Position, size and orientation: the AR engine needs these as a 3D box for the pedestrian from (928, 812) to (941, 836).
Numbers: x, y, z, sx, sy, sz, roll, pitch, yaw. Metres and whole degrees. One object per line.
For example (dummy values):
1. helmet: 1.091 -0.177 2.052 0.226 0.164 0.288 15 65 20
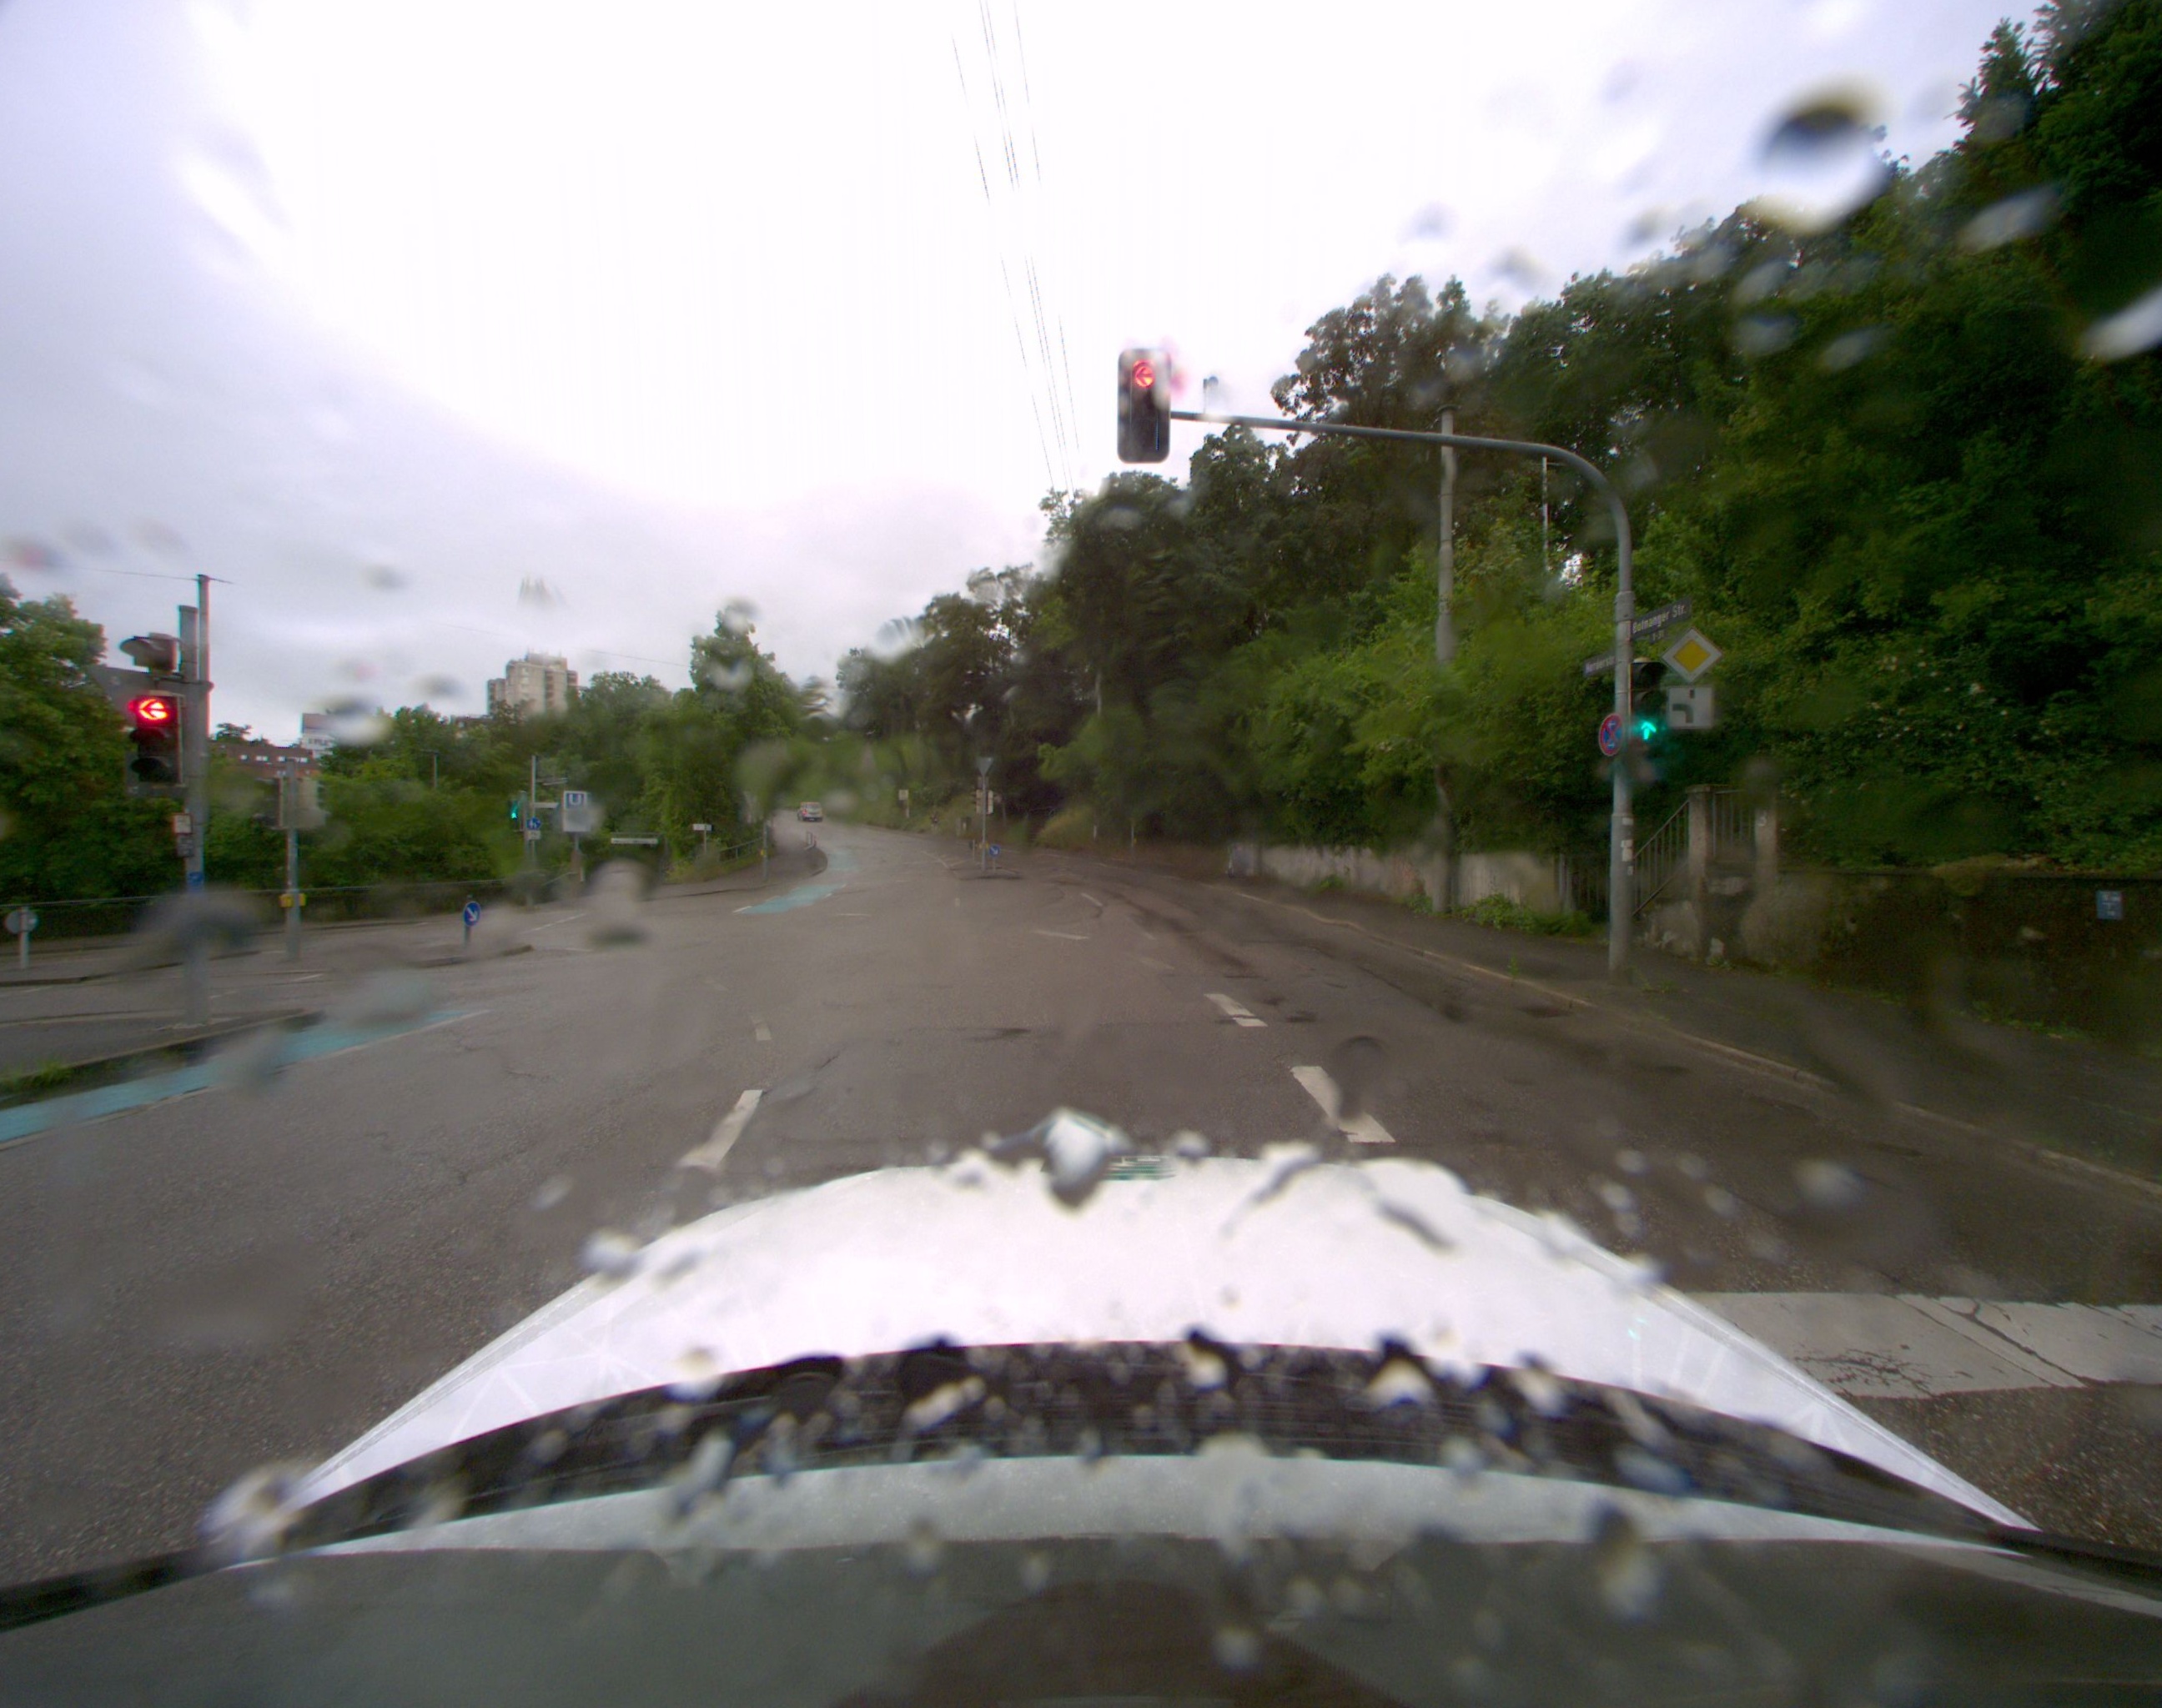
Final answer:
1. pedestrian: -10.839 -2.195 60.226 0.882 1.736 0.861 0 -1 -15

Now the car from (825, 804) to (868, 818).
1. car: -27.119 -4.987 94.166 4.357 1.511 1.971 1 3 15

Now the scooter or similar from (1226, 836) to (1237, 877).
1. scooter or similar: 4.897 0.069 26.522 0.320 1.279 0.754 -1 2 10

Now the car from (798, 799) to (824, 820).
1. car: -28.690 -4.660 86.437 2.076 2.006 4.775 -1 1 -25
